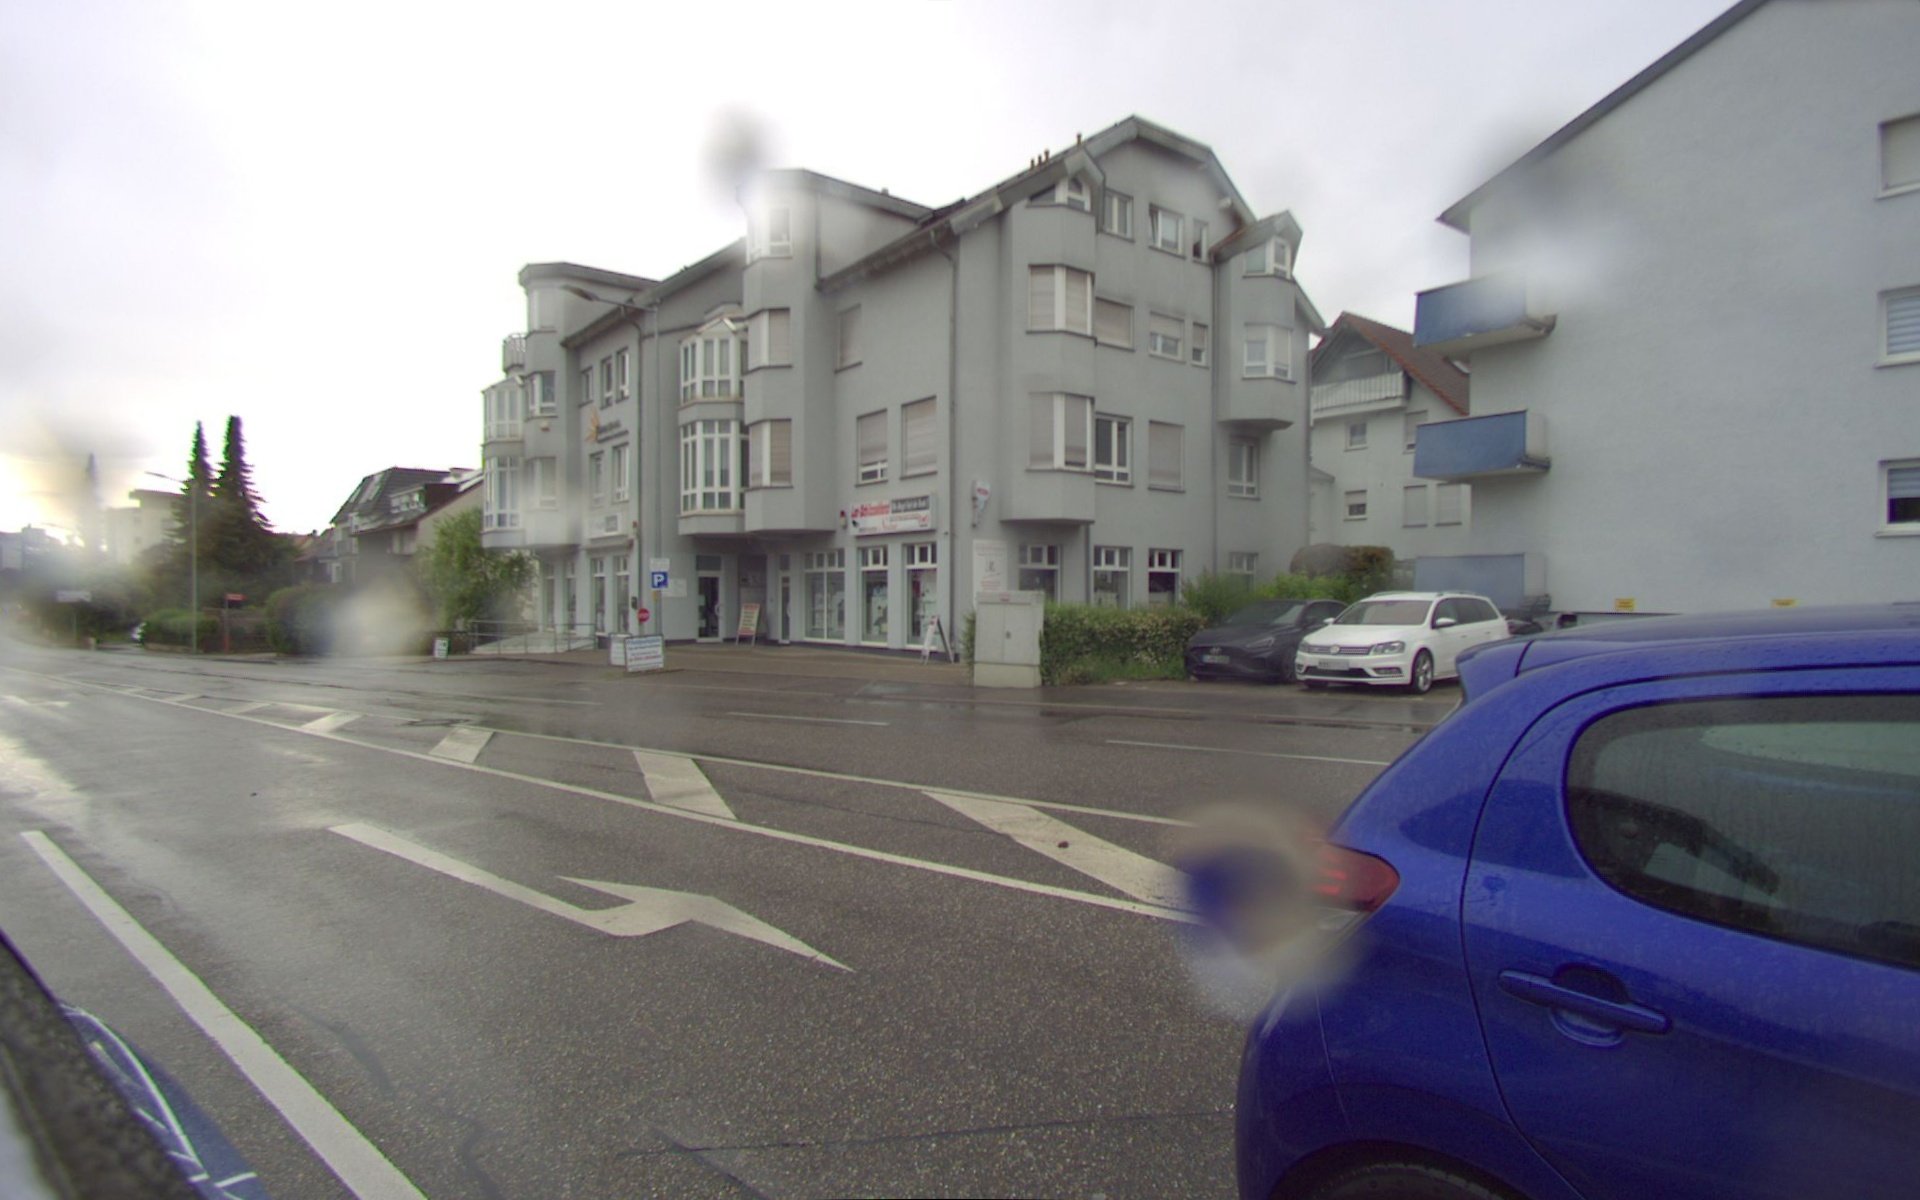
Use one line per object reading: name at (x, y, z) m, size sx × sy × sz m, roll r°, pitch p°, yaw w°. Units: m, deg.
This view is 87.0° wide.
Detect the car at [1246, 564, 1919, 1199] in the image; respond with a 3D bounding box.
car at (2.238, 0.637, 1.230) m, size 3.269 × 1.421 × 1.562 m, roll -2°, pitch 0°, yaw 42°

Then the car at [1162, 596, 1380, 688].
car at (5.461, 0.659, 17.548) m, size 3.940 × 1.421 × 1.906 m, roll 0°, pitch -1°, yaw -43°

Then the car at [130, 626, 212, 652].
car at (-51.371, 2.513, 65.922) m, size 4.096 × 1.453 × 1.892 m, roll -2°, pitch 0°, yaw -42°

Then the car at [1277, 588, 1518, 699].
car at (6.836, 0.592, 15.628) m, size 4.169 × 1.485 × 1.906 m, roll 0°, pitch -1°, yaw -43°

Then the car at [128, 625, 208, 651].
car at (-53.166, 2.506, 68.001) m, size 4.058 × 1.557 × 2.002 m, roll -2°, pitch 0°, yaw -44°

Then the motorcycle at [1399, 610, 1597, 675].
motorcycle at (9.758, 0.781, 18.536) m, size 3.112 × 1.108 × 0.869 m, roll -2°, pitch -1°, yaw 25°

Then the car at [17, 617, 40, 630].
car at (-124.418, 3.167, 135.228) m, size 1.968 × 1.628 × 4.008 m, roll 0°, pitch -1°, yaw -38°

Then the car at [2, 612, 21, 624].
car at (-148.783, 2.785, 158.764) m, size 1.824 × 1.777 × 4.129 m, roll 0°, pitch -1°, yaw -39°

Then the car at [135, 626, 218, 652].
car at (-49.637, 2.444, 64.129) m, size 3.978 × 1.453 × 1.814 m, roll -2°, pitch 0°, yaw -44°
